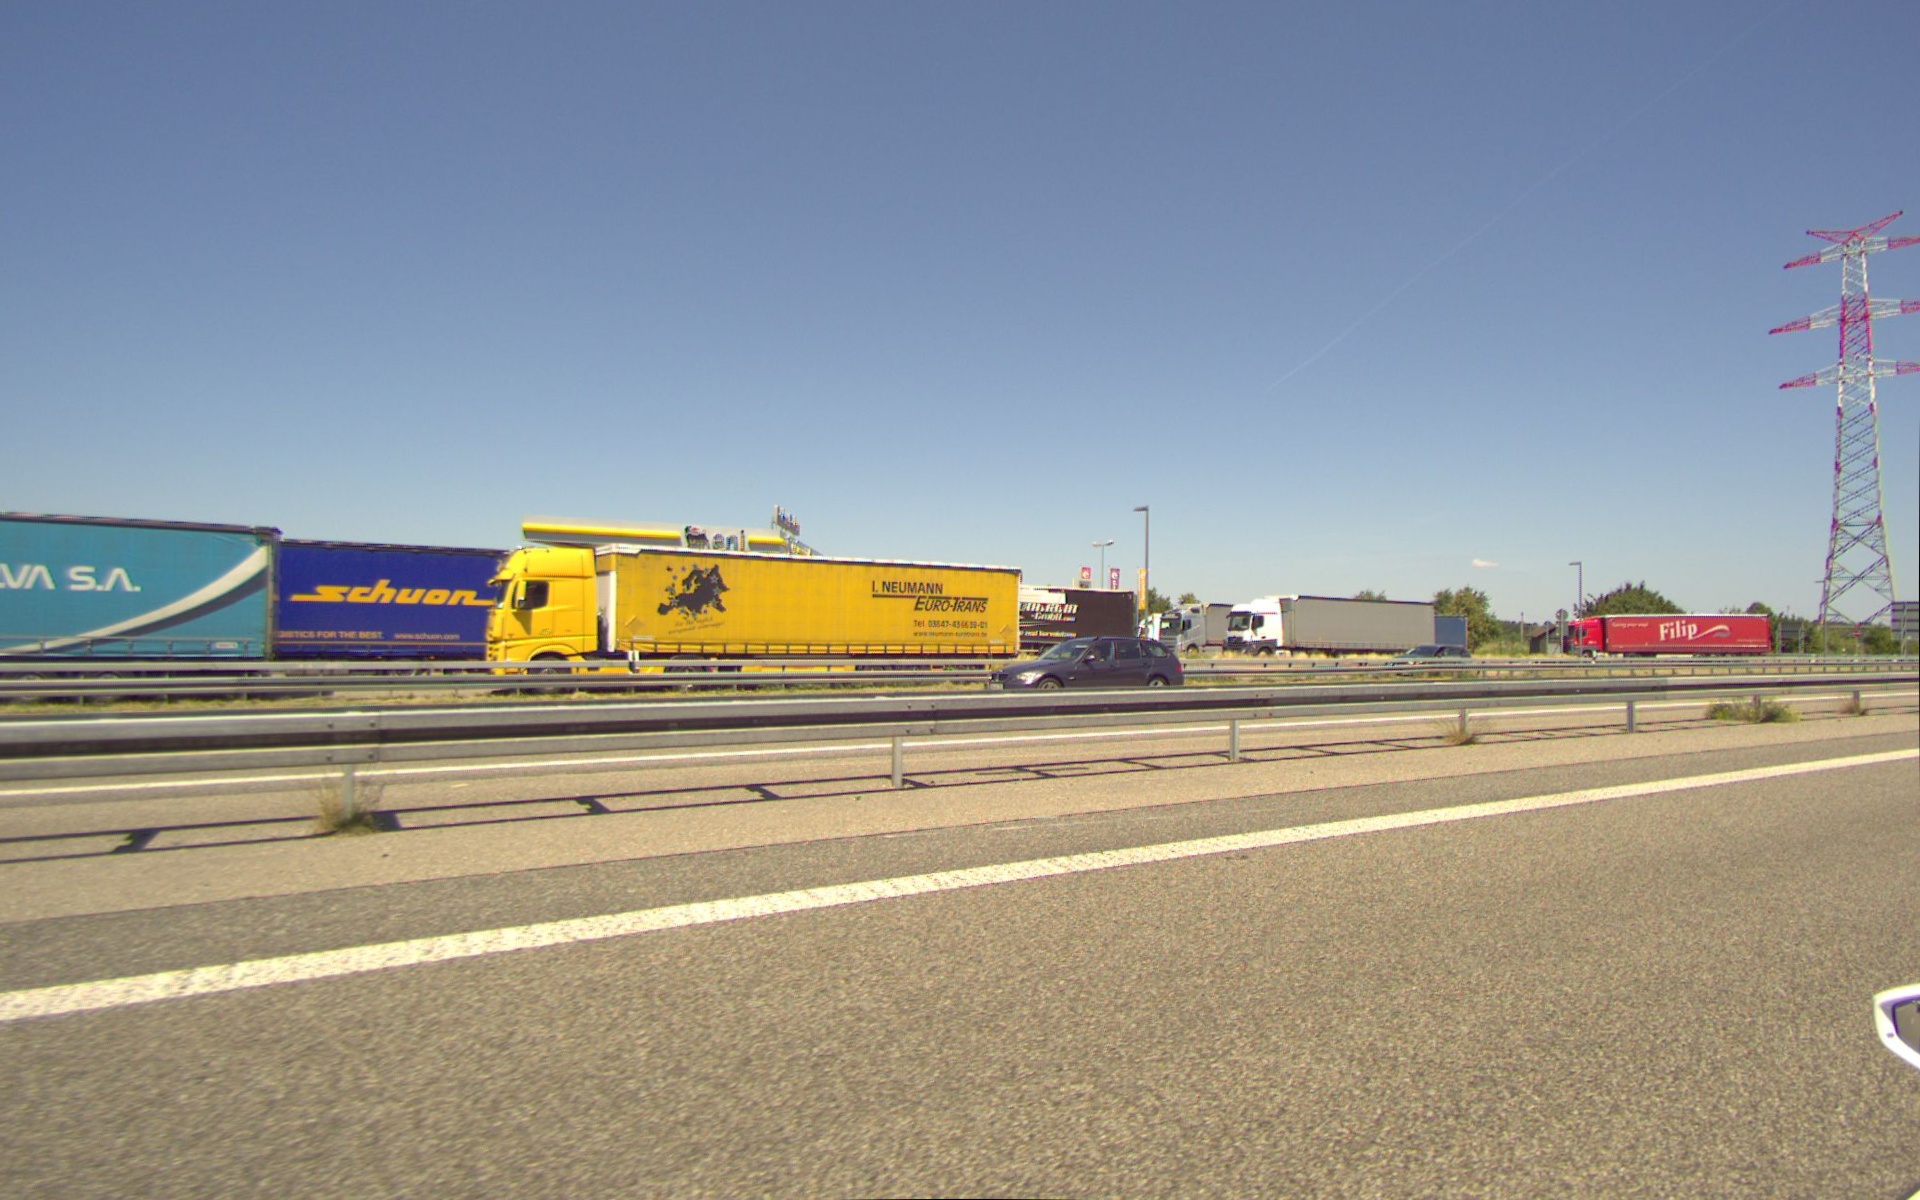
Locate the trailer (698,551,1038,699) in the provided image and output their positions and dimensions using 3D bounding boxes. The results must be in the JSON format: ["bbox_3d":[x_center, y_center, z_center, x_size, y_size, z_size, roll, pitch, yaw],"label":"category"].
[{"bbox_3d":[-2.753,0.839,33.015,10.958,4.276,2.818,2,0,-32],"label":"trailer"}]

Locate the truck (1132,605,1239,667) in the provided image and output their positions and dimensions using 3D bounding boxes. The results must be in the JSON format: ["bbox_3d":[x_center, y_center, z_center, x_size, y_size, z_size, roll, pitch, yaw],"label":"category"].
[{"bbox_3d":[17.050,2.716,75.810,7.531,4.415,3.287,2,0,-29],"label":"truck"}]

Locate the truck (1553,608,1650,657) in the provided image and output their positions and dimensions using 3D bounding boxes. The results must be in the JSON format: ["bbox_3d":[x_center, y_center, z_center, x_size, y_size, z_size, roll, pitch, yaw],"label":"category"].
[{"bbox_3d":[57.262,2.858,89.757,6.511,4.103,3.129,2,0,4],"label":"truck"}]

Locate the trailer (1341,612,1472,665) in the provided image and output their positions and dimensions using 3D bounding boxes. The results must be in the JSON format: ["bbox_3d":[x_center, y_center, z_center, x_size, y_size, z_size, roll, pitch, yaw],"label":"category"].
[{"bbox_3d":[41.384,3.466,93.380,10.853,4.323,3.164,2,0,25],"label":"trailer"}]

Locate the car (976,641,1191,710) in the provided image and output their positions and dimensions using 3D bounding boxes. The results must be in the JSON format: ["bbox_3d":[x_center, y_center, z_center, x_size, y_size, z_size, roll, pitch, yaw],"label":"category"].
[{"bbox_3d":[2.585,1.535,20.780,4.267,1.292,1.734,2,-4,-30],"label":"car"}]

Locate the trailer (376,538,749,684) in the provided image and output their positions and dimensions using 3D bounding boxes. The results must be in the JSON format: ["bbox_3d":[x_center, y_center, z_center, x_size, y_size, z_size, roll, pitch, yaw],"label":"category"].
[{"bbox_3d":[-12.728,0.441,32.942,10.950,4.204,2.820,2,0,-30],"label":"trailer"}]

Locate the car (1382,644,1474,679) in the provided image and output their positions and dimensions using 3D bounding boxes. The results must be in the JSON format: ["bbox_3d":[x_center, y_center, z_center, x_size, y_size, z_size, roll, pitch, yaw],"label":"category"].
[{"bbox_3d":[22.571,2.937,48.393,4.457,1.509,1.803,2,0,-31],"label":"car"}]

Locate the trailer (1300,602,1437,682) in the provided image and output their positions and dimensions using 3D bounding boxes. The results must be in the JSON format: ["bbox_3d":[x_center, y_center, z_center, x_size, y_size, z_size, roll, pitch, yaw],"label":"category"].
[{"bbox_3d":[27.251,2.773,66.842,9.570,4.940,3.285,2,0,-31],"label":"trailer"}]

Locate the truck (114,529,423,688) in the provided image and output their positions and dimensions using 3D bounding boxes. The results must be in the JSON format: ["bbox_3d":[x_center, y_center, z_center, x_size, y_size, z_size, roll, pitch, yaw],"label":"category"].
[{"bbox_3d":[-19.557,0.292,29.060,7.003,4.127,2.821,2,0,-29],"label":"truck"}]

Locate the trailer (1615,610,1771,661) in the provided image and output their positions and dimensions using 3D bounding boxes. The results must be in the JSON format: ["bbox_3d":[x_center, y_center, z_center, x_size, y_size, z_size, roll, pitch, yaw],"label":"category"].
[{"bbox_3d":[64.945,3.091,89.179,11.085,4.109,3.132,2,0,4],"label":"trailer"}]

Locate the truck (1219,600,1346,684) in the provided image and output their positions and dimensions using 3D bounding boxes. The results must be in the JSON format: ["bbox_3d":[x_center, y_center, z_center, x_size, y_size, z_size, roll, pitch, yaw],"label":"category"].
[{"bbox_3d":[20.181,2.576,62.698,7.536,4.915,3.285,2,0,-30],"label":"truck"}]

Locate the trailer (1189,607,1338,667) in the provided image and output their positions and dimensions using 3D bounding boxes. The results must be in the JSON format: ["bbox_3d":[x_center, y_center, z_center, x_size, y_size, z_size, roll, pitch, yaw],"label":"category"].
[{"bbox_3d":[24.236,2.930,79.765,12.762,4.415,3.287,2,0,-29],"label":"trailer"}]

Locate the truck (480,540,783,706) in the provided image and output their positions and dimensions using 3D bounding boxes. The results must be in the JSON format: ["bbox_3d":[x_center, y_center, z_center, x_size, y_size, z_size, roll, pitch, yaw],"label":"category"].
[{"bbox_3d":[-9.353,0.656,28.977,7.828,4.256,2.818,2,0,-31],"label":"truck"}]

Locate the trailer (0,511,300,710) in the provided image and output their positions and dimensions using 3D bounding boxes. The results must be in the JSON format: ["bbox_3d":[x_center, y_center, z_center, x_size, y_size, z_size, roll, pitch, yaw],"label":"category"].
[{"bbox_3d":[-21.702,0.180,21.957,11.948,4.204,2.818,2,0,-32],"label":"trailer"}]

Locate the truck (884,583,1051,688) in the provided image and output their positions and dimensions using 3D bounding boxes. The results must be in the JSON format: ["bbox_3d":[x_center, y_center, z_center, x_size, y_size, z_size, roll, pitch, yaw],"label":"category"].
[{"bbox_3d":[0.414,1.726,50.107,7.781,4.915,3.012,2,0,-29],"label":"truck"}]

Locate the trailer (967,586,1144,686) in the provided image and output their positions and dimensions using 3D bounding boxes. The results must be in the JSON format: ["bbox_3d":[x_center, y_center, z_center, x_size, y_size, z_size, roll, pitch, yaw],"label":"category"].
[{"bbox_3d":[5.103,1.866,52.727,9.022,4.915,3.020,2,0,-29],"label":"trailer"}]

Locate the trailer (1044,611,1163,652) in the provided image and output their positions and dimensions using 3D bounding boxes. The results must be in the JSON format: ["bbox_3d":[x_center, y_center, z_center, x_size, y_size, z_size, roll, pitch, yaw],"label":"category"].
[{"bbox_3d":[13.668,2.999,96.285,10.846,3.568,3.003,2,0,0],"label":"trailer"}]
